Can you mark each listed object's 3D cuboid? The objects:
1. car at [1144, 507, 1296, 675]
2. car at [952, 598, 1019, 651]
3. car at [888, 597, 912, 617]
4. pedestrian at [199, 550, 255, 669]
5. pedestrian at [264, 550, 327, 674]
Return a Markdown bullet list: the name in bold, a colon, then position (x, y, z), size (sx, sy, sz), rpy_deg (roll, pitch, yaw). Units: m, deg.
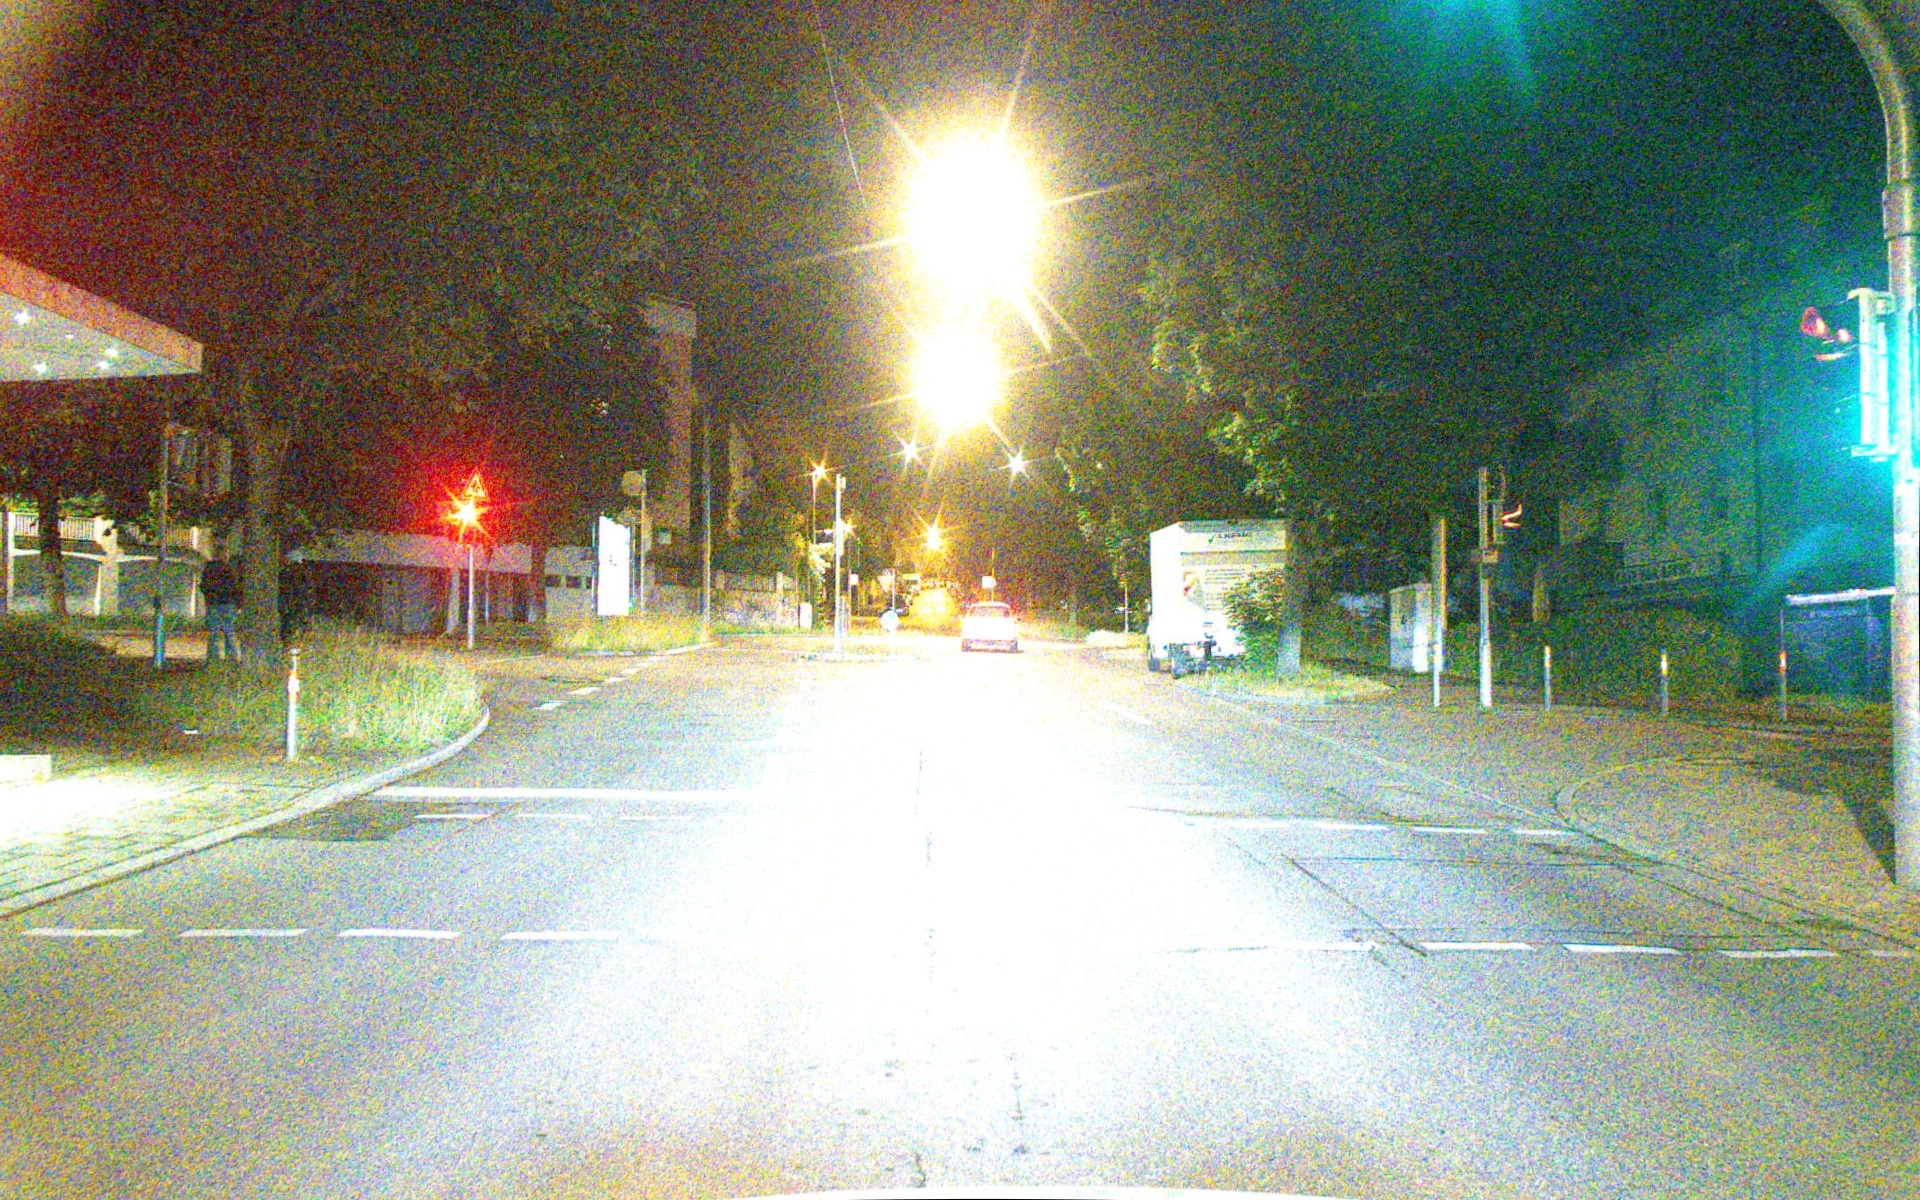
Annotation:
- **car**: position (5.252, -0.156, 34.306), size (2.249, 3.147, 5.840), rpy_deg (-1, 0, 1)
- **car**: position (0.734, 0.717, 50.215), size (1.740, 1.512, 3.997), rpy_deg (1, 0, -3)
- **car**: position (-4.837, 0.542, 134.226), size (1.869, 1.585, 3.903), rpy_deg (1, 0, -1)
- **pedestrian**: position (-10.960, 0.141, 24.748), size (0.558, 1.761, 0.543), rpy_deg (1, -1, -1)
- **pedestrian**: position (-9.956, 0.179, 24.805), size (0.558, 1.808, 0.737), rpy_deg (3, -1, -1)
